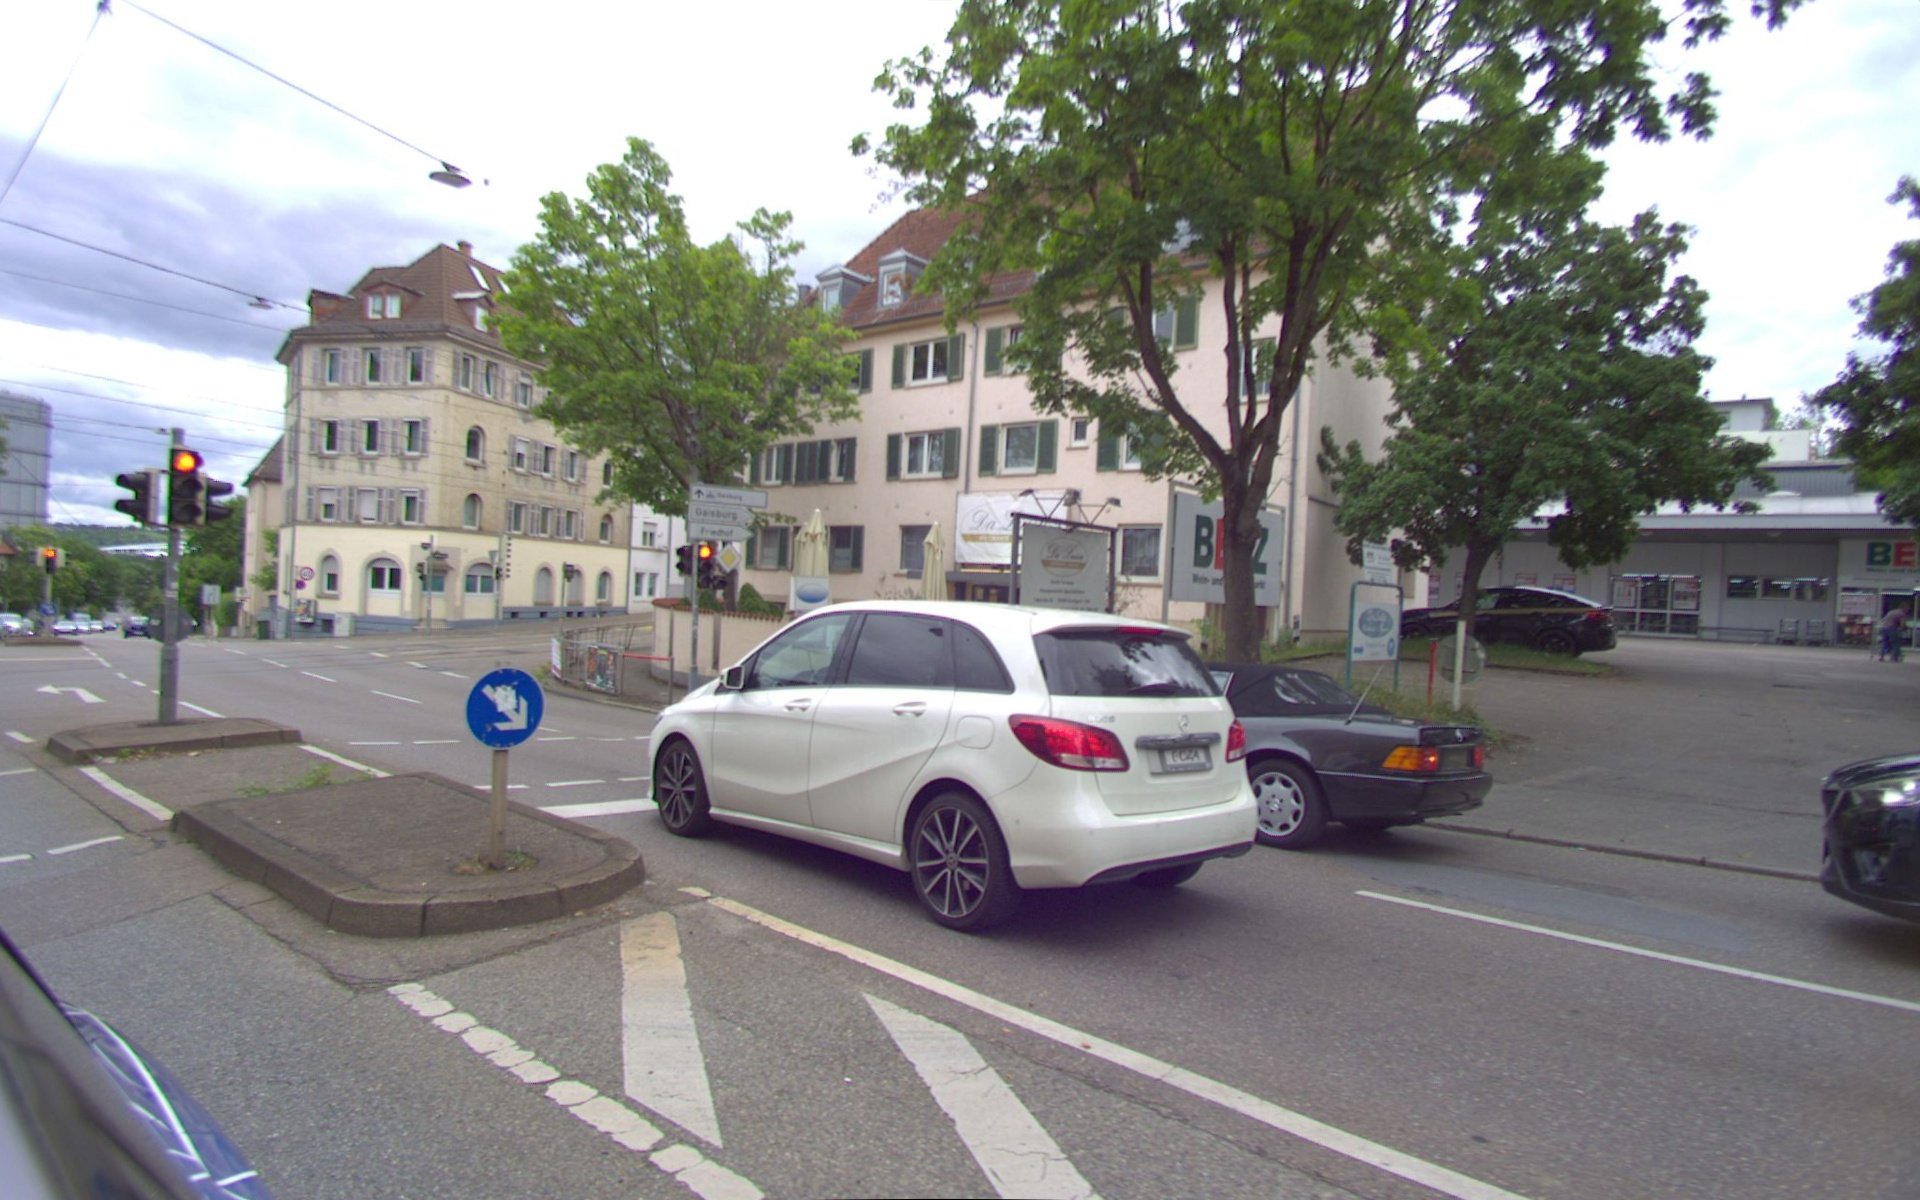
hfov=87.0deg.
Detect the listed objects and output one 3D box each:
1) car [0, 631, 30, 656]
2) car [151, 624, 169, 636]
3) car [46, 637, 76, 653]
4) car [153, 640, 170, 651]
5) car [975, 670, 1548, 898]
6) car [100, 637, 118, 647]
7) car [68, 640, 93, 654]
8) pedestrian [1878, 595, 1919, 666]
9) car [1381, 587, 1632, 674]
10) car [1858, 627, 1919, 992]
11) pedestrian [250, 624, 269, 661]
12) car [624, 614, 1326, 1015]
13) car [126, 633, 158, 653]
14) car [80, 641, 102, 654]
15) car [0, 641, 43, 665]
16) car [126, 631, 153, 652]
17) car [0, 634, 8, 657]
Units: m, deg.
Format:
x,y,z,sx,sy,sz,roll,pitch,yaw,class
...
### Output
x,y,z,sx,sy,sz,roll,pitch,yaw,class
-64.122,2.907,67.969,1.967,1.642,4.419,0,-1,-37,car
-116.797,4.408,147.843,1.967,1.612,4.009,0,-1,-37,car
-93.831,4.654,105.686,1.967,1.612,4.009,0,-1,-37,car
-123.532,6.995,156.500,1.967,1.612,4.009,0,-1,-37,car
2.266,1.304,8.429,1.781,1.291,4.239,6,-5,-44,car
-134.008,6.593,159.316,1.967,1.612,4.009,0,-1,-37,car
-107.316,5.756,123.498,1.967,1.612,4.009,0,-1,-37,car
26.403,0.842,28.257,0.697,1.965,0.827,0,-1,-7,pedestrian
12.614,0.683,23.494,4.900,1.817,2.041,-1,-1,36,car
6.486,0.978,3.919,4.414,1.655,1.929,-2,-5,44,car
-36.980,2.232,53.412,0.735,1.951,0.905,-2,0,-39,pedestrian
-0.235,0.940,6.169,1.754,1.558,4.329,5,-5,-43,car
-63.725,3.359,78.864,1.731,1.458,3.760,1,-1,-36,car
-116.288,6.374,135.454,1.967,1.612,4.009,0,-1,-37,car
-69.310,3.889,74.652,1.967,1.642,4.419,0,-1,-36,car
-78.133,3.953,96.339,1.841,1.898,4.292,5,-5,-39,car
-59.212,2.761,61.253,1.888,1.309,4.418,0,-1,-37,car
